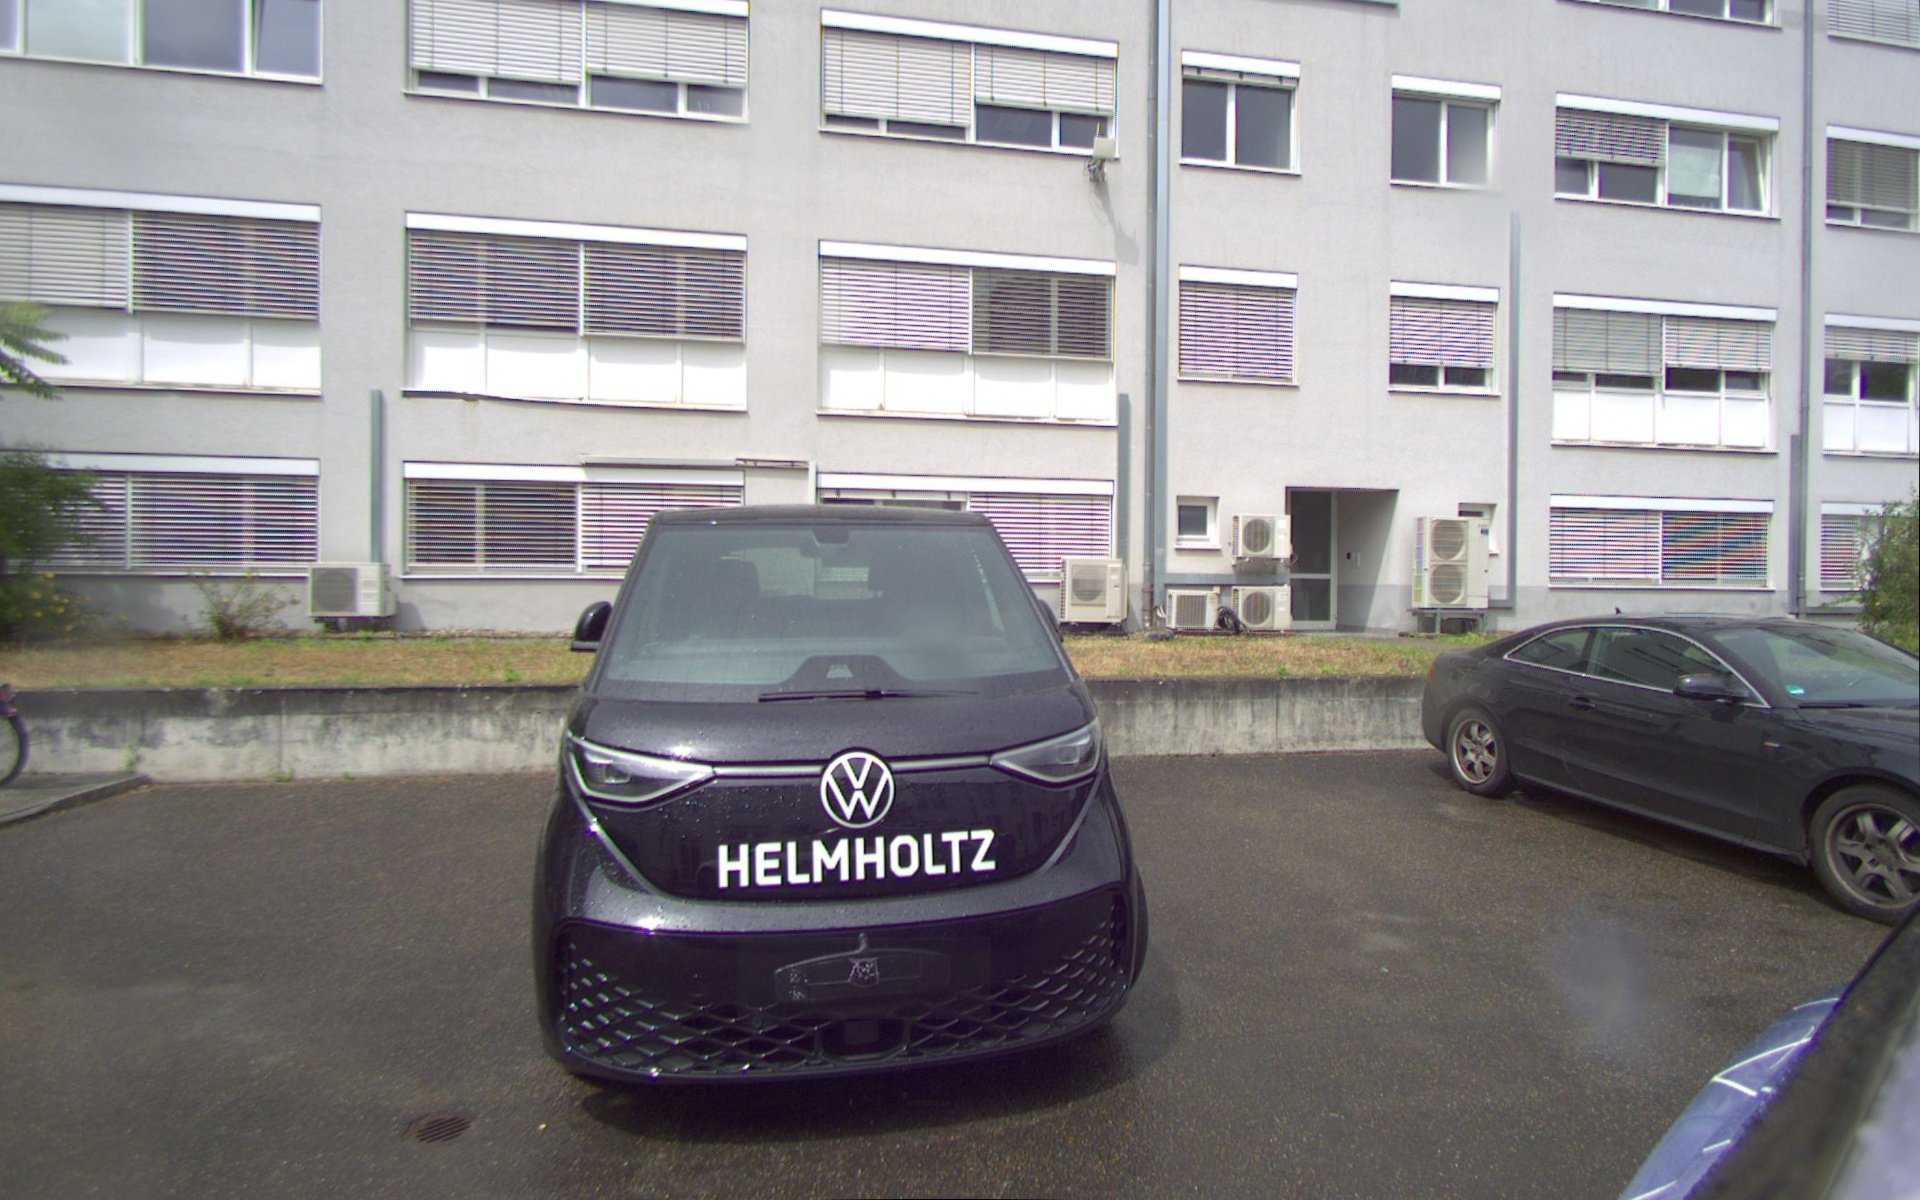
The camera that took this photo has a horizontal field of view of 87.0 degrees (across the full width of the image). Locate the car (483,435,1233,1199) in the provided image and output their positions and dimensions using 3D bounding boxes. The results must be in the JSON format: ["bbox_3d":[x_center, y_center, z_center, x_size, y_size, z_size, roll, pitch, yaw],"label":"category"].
[{"bbox_3d":[-0.672,0.466,4.954,1.929,1.888,4.758,0,2,-12],"label":"car"}]

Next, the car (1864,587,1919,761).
[{"bbox_3d":[9.271,0.682,6.980,1.726,1.460,4.325,0,2,-11],"label":"car"}]

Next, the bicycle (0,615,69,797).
[{"bbox_3d":[-6.883,0.665,6.520,1.760,1.117,0.447,1,3,-7],"label":"bicycle"}]

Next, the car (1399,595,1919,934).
[{"bbox_3d":[4.801,0.727,6.075,1.726,1.368,4.538,0,2,-10],"label":"car"}]
